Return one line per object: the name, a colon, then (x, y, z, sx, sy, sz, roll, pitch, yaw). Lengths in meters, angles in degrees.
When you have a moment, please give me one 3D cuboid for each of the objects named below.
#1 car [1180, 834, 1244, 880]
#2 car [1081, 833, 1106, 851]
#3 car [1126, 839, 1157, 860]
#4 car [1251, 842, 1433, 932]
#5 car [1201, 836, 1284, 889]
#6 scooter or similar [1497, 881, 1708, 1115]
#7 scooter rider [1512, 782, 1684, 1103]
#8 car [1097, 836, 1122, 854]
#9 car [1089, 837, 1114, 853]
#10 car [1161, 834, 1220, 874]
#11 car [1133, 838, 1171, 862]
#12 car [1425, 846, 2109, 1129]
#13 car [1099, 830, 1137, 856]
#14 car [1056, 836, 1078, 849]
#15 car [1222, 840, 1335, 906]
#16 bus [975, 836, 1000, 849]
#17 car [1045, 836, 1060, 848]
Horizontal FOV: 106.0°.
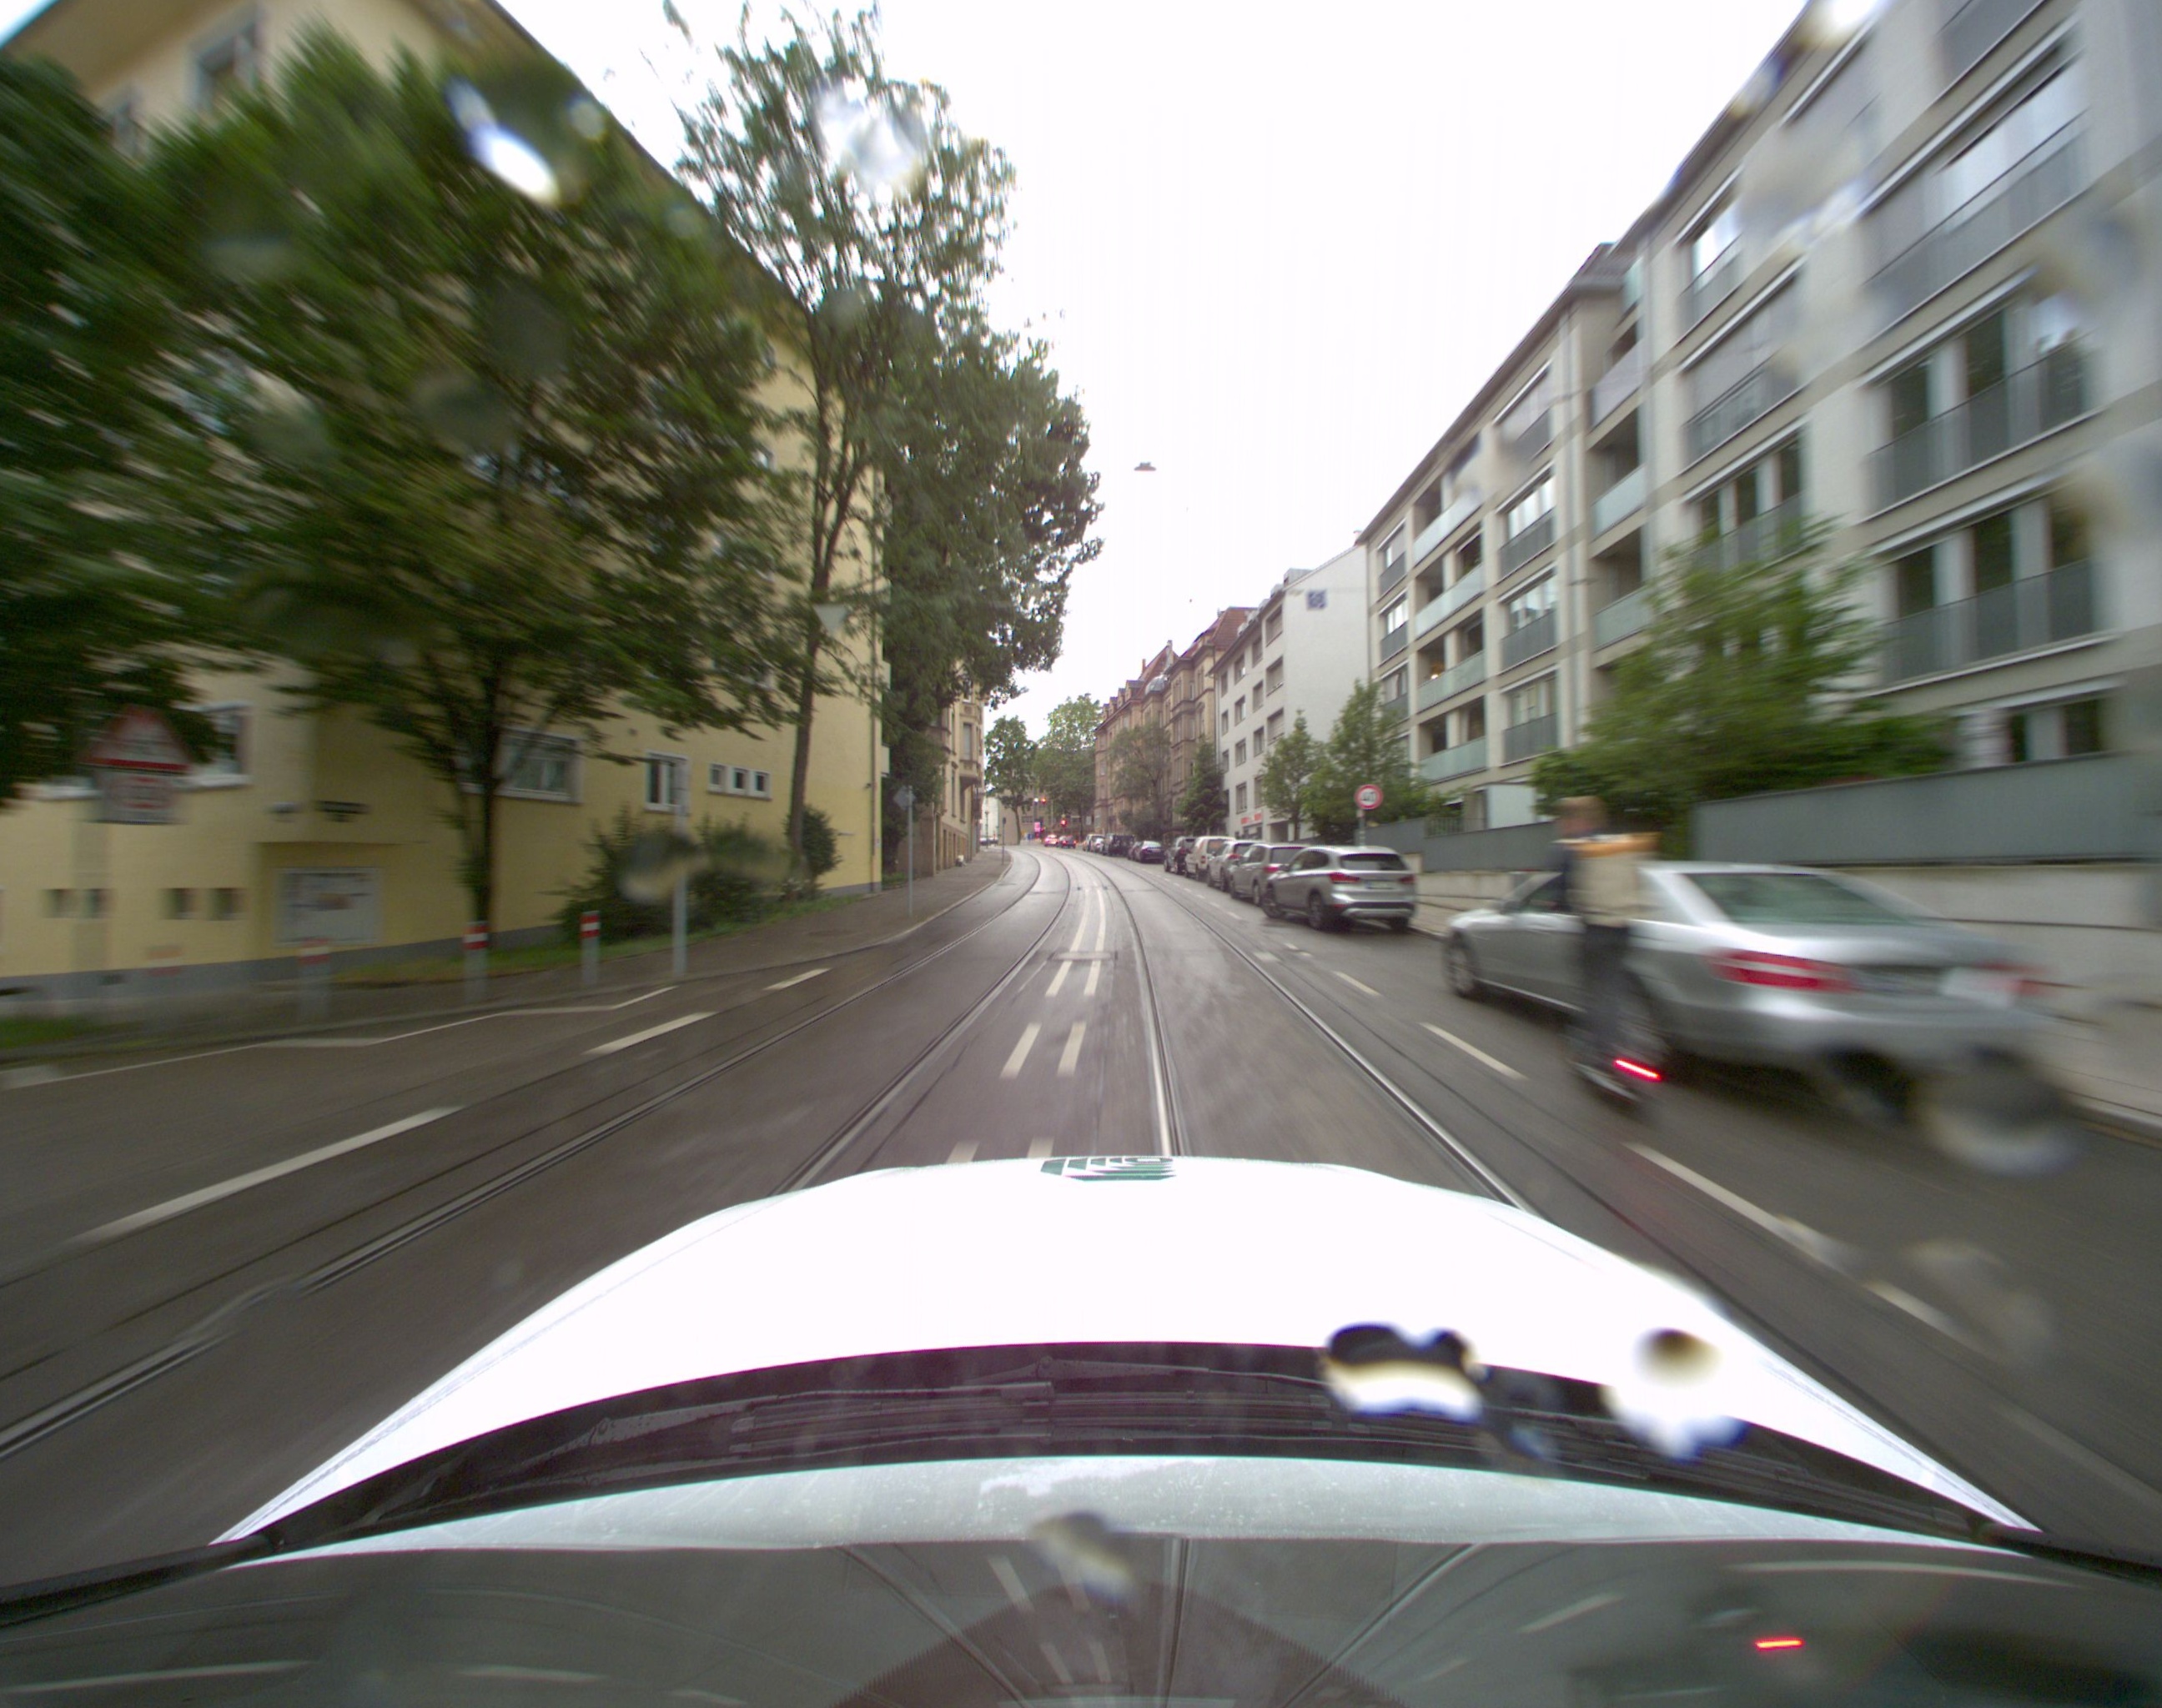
car: (5.448, 0.086, 34.347, 1.774, 1.795, 4.467, 1, 1, -3)
car: (1.222, -1.222, 83.776, 1.797, 1.765, 4.450, 2, 1, -9)
car: (4.239, -0.343, 57.558, 1.674, 1.338, 3.879, 1, 1, -3)
car: (5.149, 0.562, 16.844, 1.972, 1.584, 4.558, 0, 1, -5)
car: (5.474, 0.253, 28.221, 1.827, 1.656, 4.685, 1, 1, -1)
scooter or similar: (3.194, 0.822, 5.096, 0.641, 1.261, 1.090, 1, 0, 2)
scooter rider: (3.197, 0.516, 5.090, 0.641, 1.858, 0.690, 1, -1, 1)
car: (2.529, -0.851, 73.606, 1.560, 1.546, 3.574, 2, 1, -9)
car: (1.906, -0.898, 78.390, 1.747, 1.400, 4.468, 2, 1, -7)
car: (5.252, -0.019, 39.719, 1.938, 1.795, 4.815, 1, 1, -4)
car: (4.584, -0.271, 52.979, 1.790, 1.437, 4.606, 1, 1, -3)
car: (4.778, 0.710, 6.880, 1.851, 1.515, 4.791, 0, 1, 2)
car: (3.028, -0.946, 67.636, 2.127, 2.013, 5.336, 2, 1, -8)
car: (-1.707, -1.405, 97.596, 1.713, 1.415, 4.016, 0, 2, -15)
car: (5.309, 0.444, 22.561, 1.827, 1.627, 4.660, 0, 1, -2)
bus: (-21.905, -2.672, 190.999, 2.833, 2.861, 8.770, 0, 2, 15)
car: (-3.646, -1.578, 103.528, 1.708, 1.456, 3.545, 1, 2, -7)
